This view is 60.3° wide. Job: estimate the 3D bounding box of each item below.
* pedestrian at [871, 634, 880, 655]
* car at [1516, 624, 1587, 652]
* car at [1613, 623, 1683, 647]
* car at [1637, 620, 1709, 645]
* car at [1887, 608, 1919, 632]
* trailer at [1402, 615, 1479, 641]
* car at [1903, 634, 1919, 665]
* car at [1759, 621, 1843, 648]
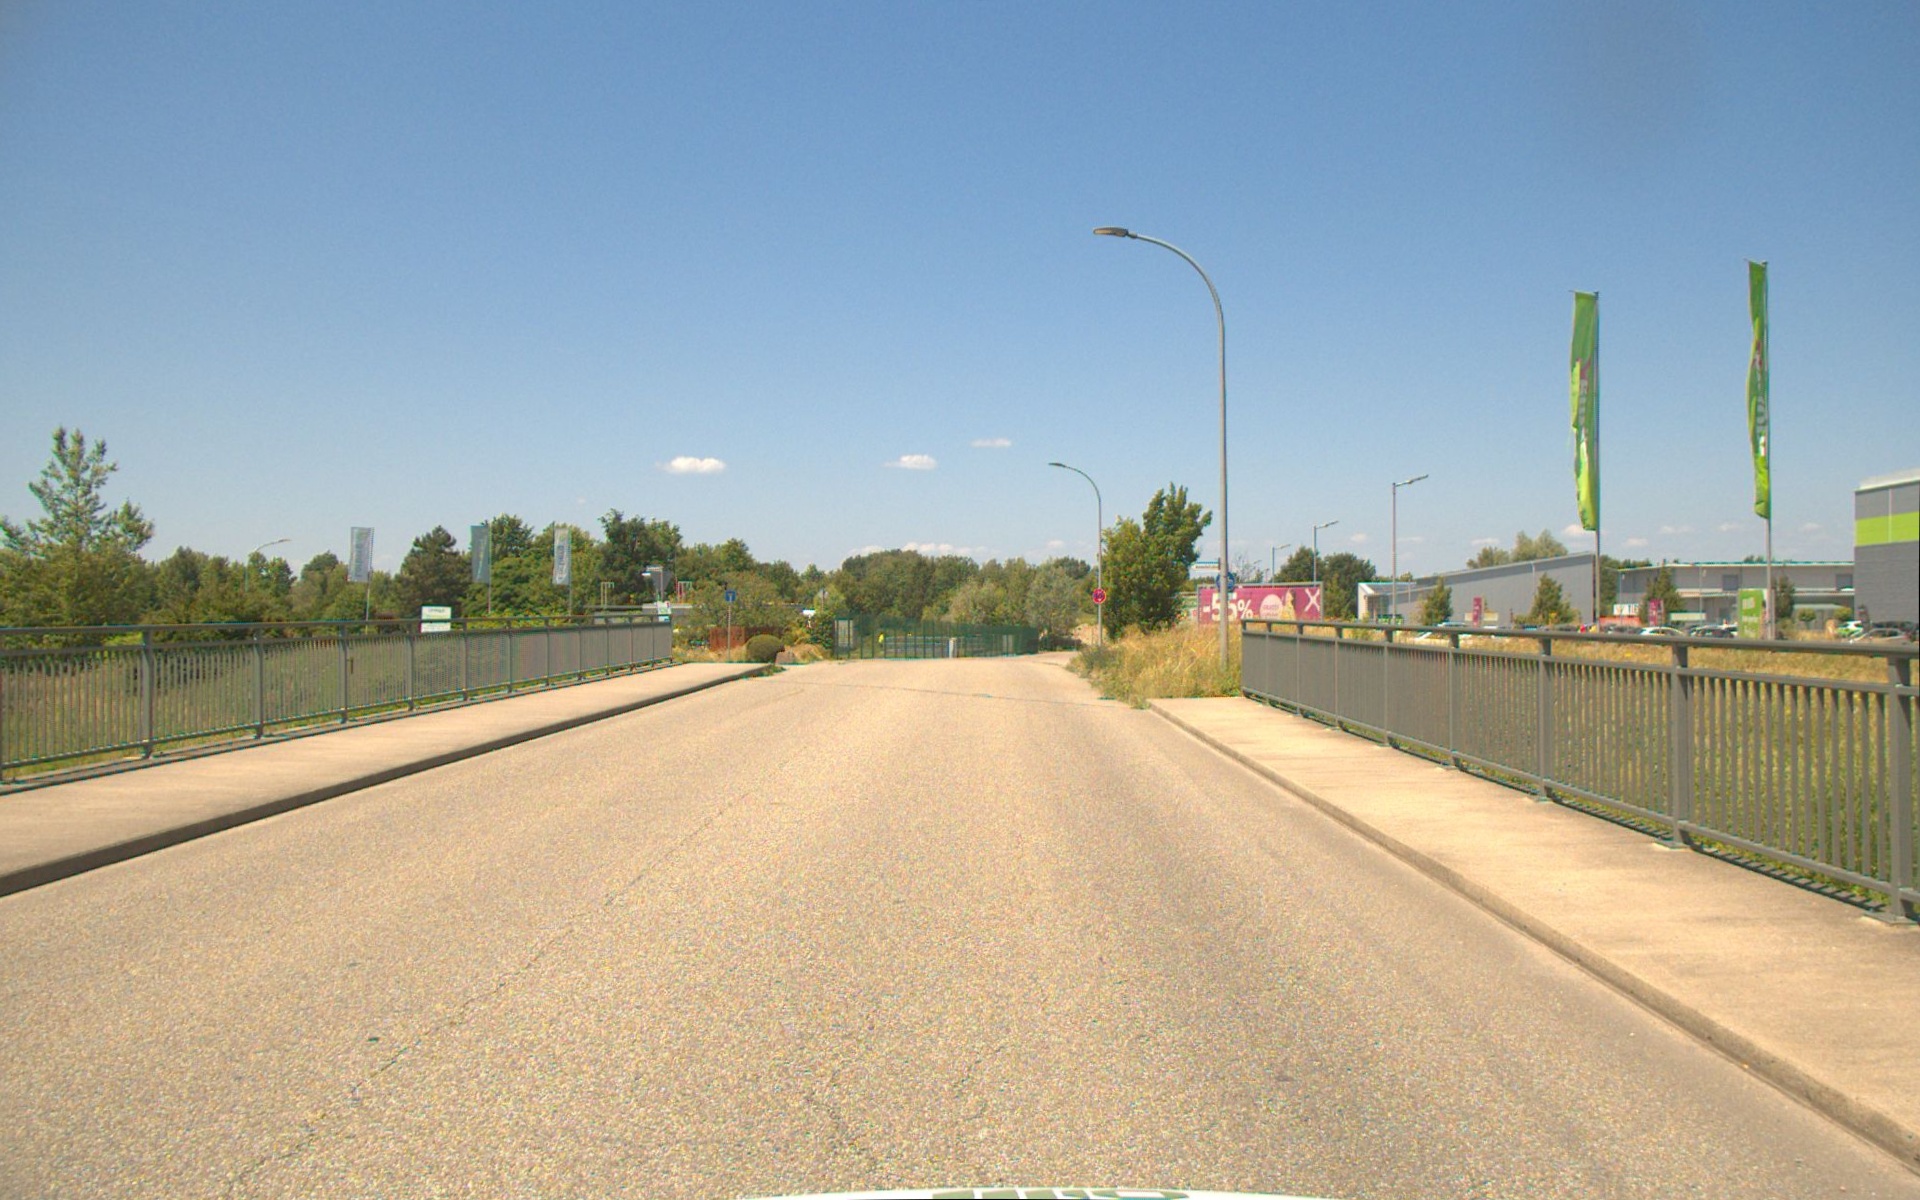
[{"bbox_3d":[-7.507,3.934,147.398,0.593,1.871,0.805,-1,-2,9],"label":"pedestrian"},{"bbox_3d":[35.319,2.236,98.858,3.656,1.598,1.892,1,-1,7],"label":"car"},{"bbox_3d":[46.444,2.375,111.739,3.902,1.546,2.001,0,-2,5],"label":"car"},{"bbox_3d":[46.407,2.112,107.725,3.902,1.546,2.001,0,-2,5],"label":"car"},{"bbox_3d":[66.126,1.365,113.469,3.904,1.546,2.000,0,-2,1],"label":"car"},{"bbox_3d":[27.067,1.562,93.240,3.902,1.422,1.765,1,-1,5],"label":"trailer"},{"bbox_3d":[50.123,2.490,83.451,3.904,1.546,2.000,0,-2,2],"label":"car"},{"bbox_3d":[49.407,2.015,97.234,3.904,1.546,2.000,0,-2,1],"label":"car"}]
